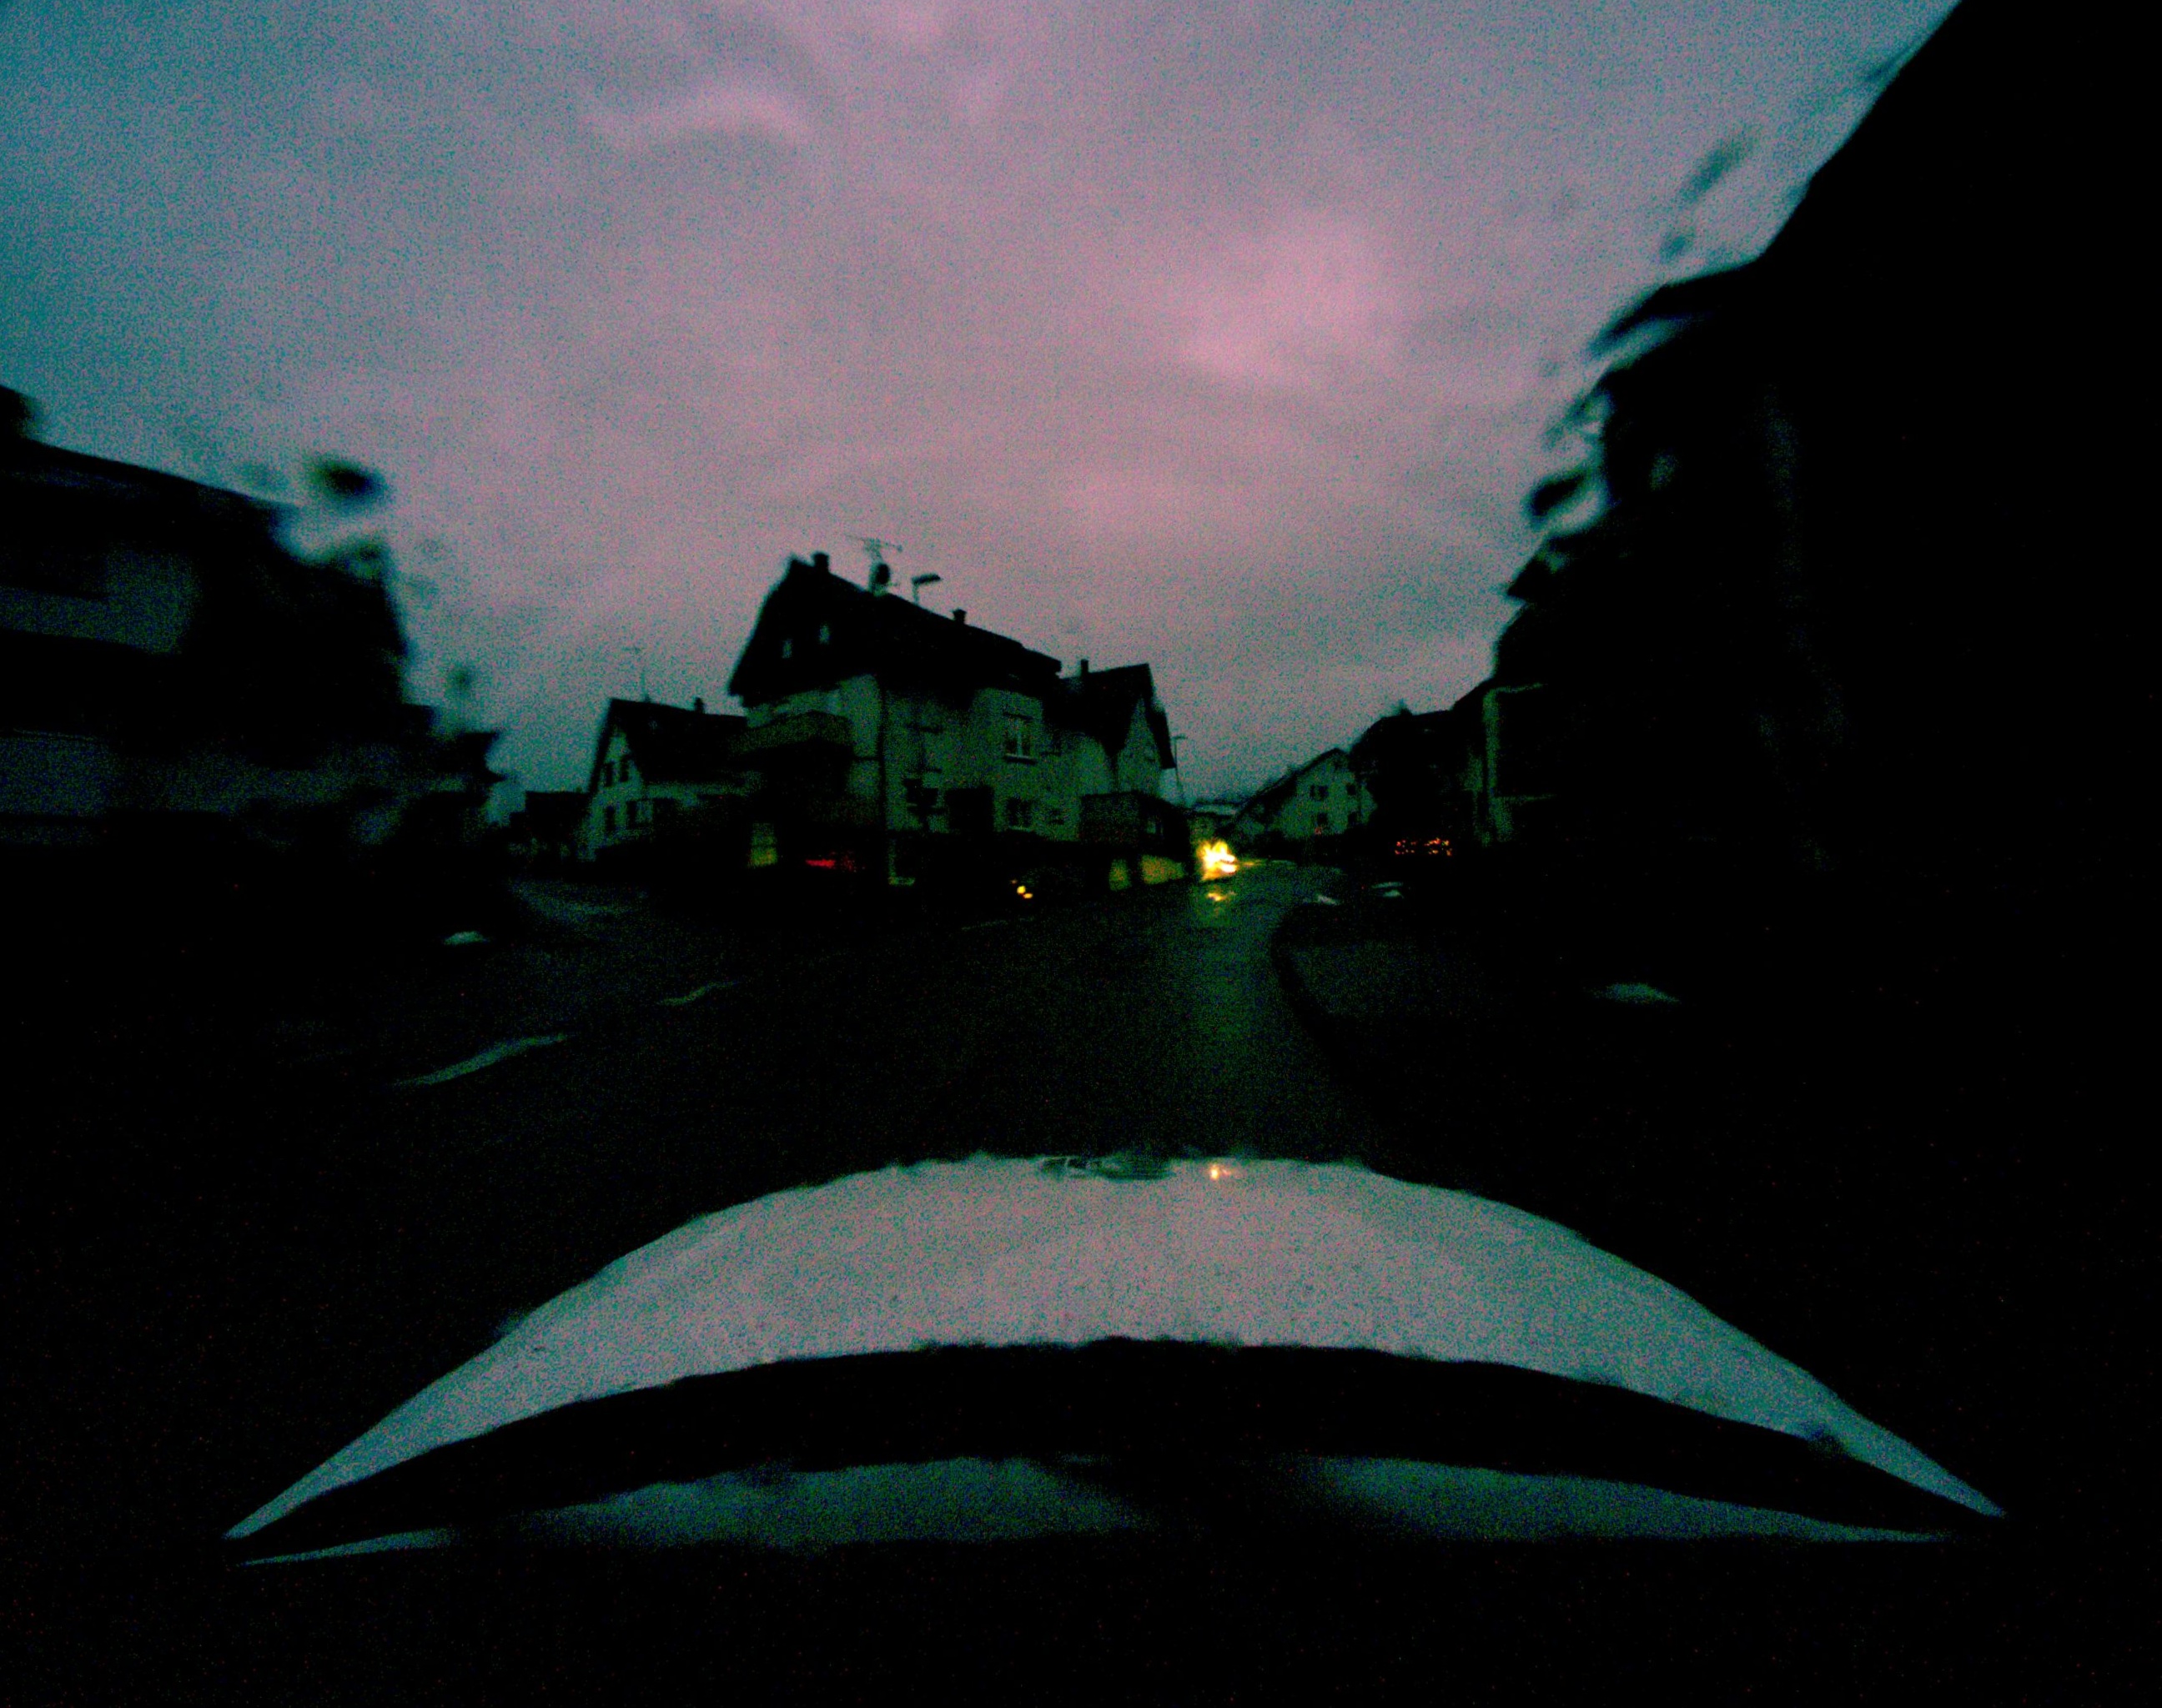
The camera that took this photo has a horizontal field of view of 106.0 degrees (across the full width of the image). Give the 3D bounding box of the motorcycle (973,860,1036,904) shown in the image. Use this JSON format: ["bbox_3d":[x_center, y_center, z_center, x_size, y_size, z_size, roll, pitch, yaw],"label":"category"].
[{"bbox_3d":[-2.449,0.853,25.797,1.061,1.298,2.215,-1,0,-34],"label":"motorcycle"}]

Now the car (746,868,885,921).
[{"bbox_3d":[-7.983,1.169,24.410,3.948,1.416,1.929,-1,-1,34],"label":"car"}]

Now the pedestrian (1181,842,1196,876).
[{"bbox_3d":[5.619,0.259,42.512,0.593,1.733,0.816,-1,-1,21],"label":"pedestrian"}]

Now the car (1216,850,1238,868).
[{"bbox_3d":[17.175,0.565,95.449,2.095,2.027,5.002,-3,-1,14],"label":"car"}]

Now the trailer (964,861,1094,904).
[{"bbox_3d":[-1.642,0.901,27.891,2.038,1.168,4.899,0,1,30],"label":"trailer"}]

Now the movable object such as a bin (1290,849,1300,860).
[{"bbox_3d":[17.783,0.042,67.652,0.634,0.917,0.687,-2,0,5],"label":"movable object such as a bin"}]
